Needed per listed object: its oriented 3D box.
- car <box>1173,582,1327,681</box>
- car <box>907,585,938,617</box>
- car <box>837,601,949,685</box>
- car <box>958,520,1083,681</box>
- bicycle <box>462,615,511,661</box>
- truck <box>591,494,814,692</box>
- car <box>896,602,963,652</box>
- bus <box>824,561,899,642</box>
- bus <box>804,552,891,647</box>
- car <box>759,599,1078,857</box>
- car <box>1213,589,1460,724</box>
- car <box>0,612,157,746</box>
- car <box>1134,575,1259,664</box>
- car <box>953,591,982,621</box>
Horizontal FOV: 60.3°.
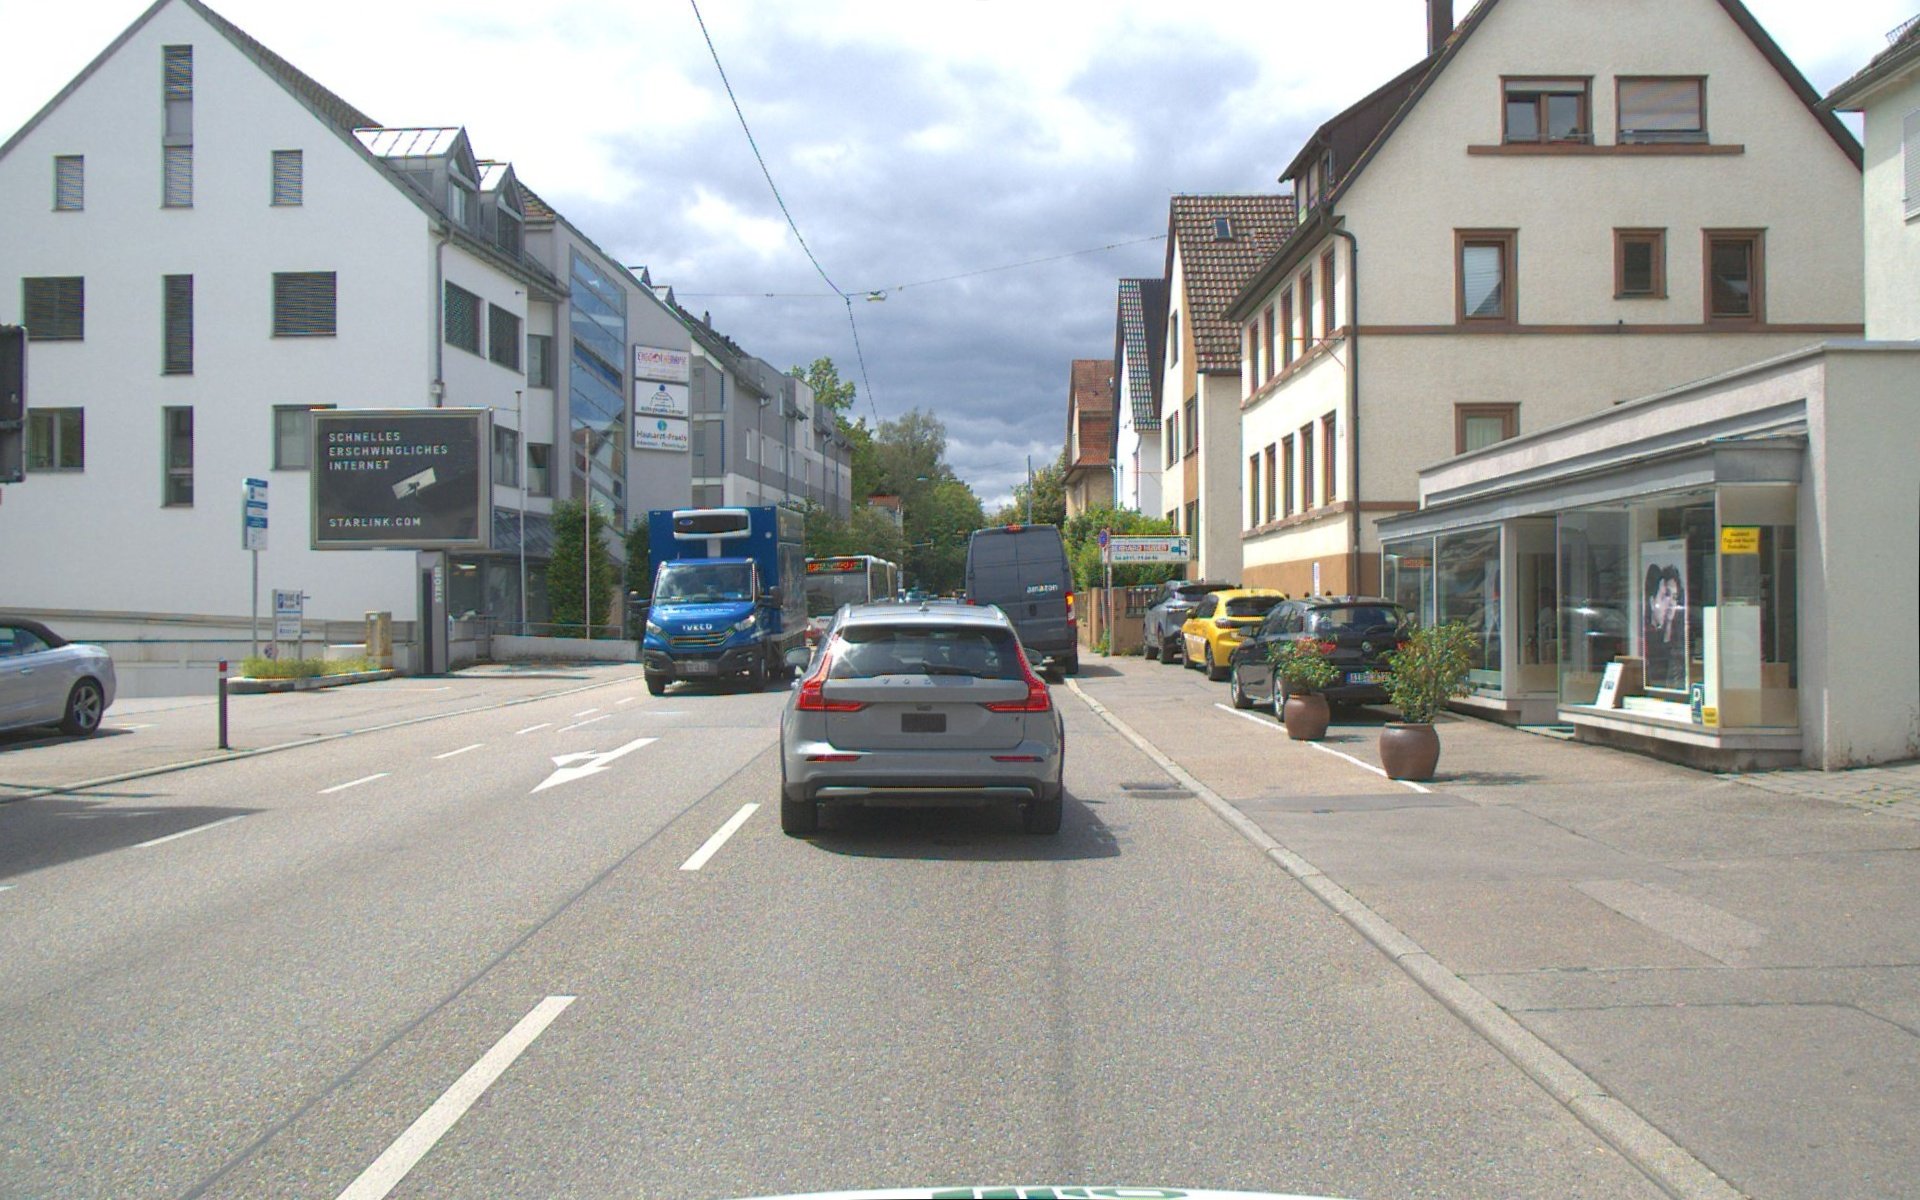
[{"bbox_3d":[5.023,0.494,29.243,1.839,1.472,4.306,-1,2,-2],"label":"car"},{"bbox_3d":[-2.654,0.098,118.917,2.062,2.158,4.765,-2,0,-1],"label":"car"},{"bbox_3d":[-1.214,0.766,31.621,1.857,1.472,3.969,1,0,2],"label":"car"},{"bbox_3d":[1.163,0.015,32.327,2.206,2.844,5.570,-1,0,2],"label":"car"},{"bbox_3d":[-12.076,0.961,42.203,0.617,1.114,2.003,0,0,2],"label":"bicycle"},{"bbox_3d":[-4.496,-0.108,30.666,2.795,3.147,8.089,-1,0,0],"label":"truck"},{"bbox_3d":[-0.904,0.811,51.184,1.857,1.472,3.969,1,0,2],"label":"car"},{"bbox_3d":[-4.116,0.057,70.703,2.660,3.219,8.068,-1,0,0],"label":"bus"},{"bbox_3d":[-4.047,-0.022,61.548,2.627,3.219,10.182,-1,0,-1],"label":"bus"},{"bbox_3d":[-0.181,0.746,11.659,1.857,1.479,3.969,1,0,2],"label":"car"},{"bbox_3d":[4.551,0.624,20.732,1.928,1.473,4.534,-1,0,-2],"label":"car"},{"bbox_3d":[-10.968,0.846,17.909,1.910,1.381,4.858,0,0,4],"label":"car"},{"bbox_3d":[4.781,0.368,34.031,1.823,1.640,4.585,-2,0,-1],"label":"car"},{"bbox_3d":[0.550,0.393,116.560,1.952,2.049,4.001,1,0,2],"label":"car"}]
